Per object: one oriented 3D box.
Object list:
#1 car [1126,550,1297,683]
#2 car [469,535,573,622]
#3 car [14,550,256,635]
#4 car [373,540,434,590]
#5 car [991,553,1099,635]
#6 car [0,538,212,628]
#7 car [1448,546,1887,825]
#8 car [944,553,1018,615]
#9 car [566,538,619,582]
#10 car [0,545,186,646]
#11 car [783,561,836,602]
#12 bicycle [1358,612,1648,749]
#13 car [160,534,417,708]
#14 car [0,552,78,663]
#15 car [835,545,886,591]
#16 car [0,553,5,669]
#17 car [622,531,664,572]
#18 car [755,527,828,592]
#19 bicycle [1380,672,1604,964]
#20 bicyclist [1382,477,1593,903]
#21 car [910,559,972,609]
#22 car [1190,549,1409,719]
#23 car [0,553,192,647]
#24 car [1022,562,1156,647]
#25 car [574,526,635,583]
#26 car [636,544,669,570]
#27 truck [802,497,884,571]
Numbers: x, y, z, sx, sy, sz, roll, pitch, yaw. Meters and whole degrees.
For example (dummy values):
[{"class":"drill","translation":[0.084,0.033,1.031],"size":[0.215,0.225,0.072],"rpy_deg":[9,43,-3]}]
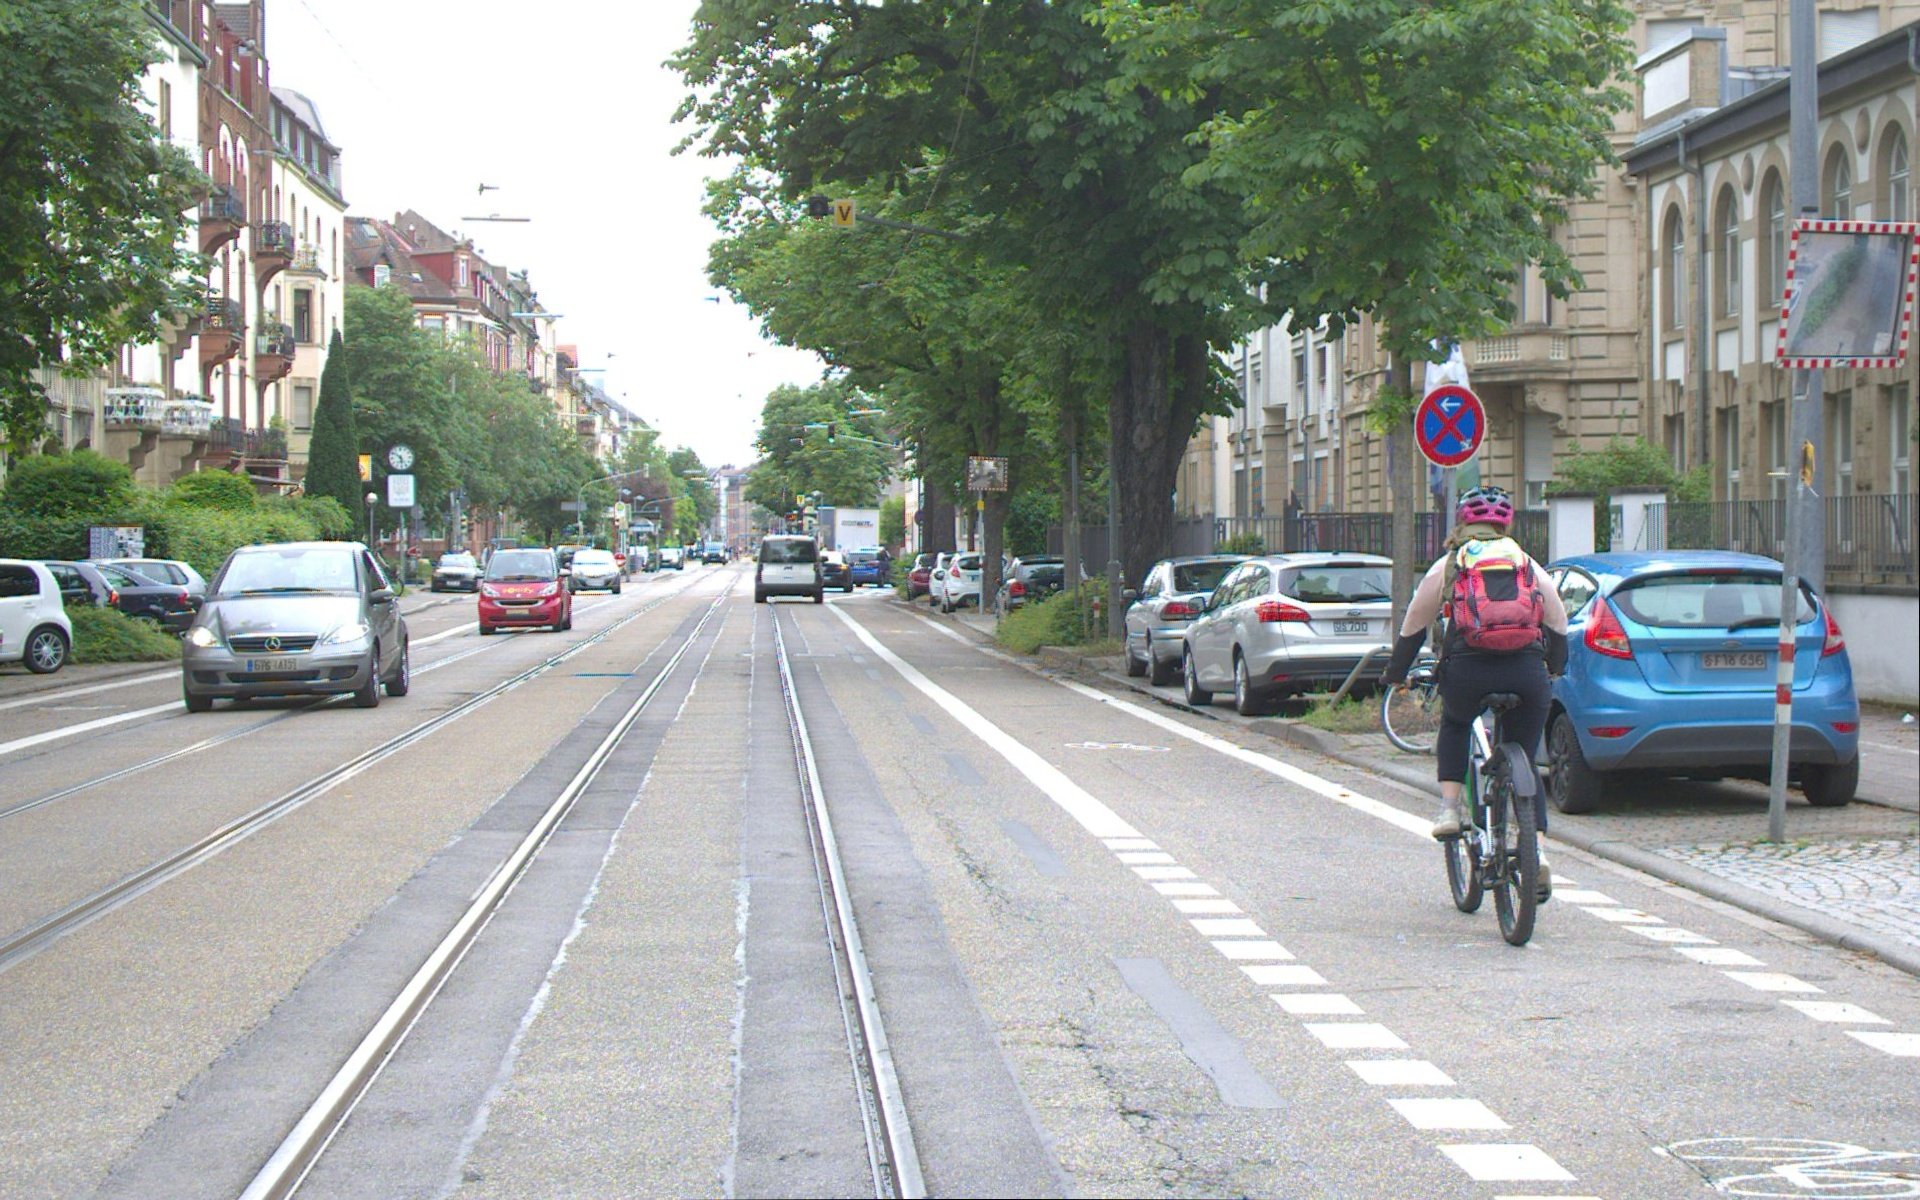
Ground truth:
[{"class":"car","translation":[2.834,0.149,39.350],"size":[1.475,1.424,3.566],"rpy_deg":[-1,1,-4]},{"class":"car","translation":[-7.874,-0.388,61.779],"size":[1.676,1.517,2.782],"rpy_deg":[1,0,-4]},{"class":"car","translation":[-14.085,-0.130,58.704],"size":[3.707,1.381,1.700],"rpy_deg":[1,1,-27]},{"class":"car","translation":[-24.983,-1.594,154.432],"size":[2.177,2.199,4.219],"rpy_deg":[-1,1,-2]},{"class":"car","translation":[1.498,-0.132,61.803],"size":[1.791,1.394,3.795],"rpy_deg":[0,1,-1]},{"class":"car","translation":[-14.214,-0.281,55.810],"size":[3.707,1.381,1.700],"rpy_deg":[1,1,-27]},{"class":"car","translation":[4.075,0.434,20.316],"size":[1.674,1.455,3.433],"rpy_deg":[-1,1,-4]},{"class":"car","translation":[0.474,-0.385,80.869],"size":[1.667,1.394,3.661],"rpy_deg":[0,1,-1]},{"class":"car","translation":[-12.260,-1.360,114.603],"size":[1.740,1.424,4.001],"rpy_deg":[-1,1,-6]},{"class":"car","translation":[-12.819,-0.078,47.353],"size":[1.698,1.347,3.958],"rpy_deg":[2,1,42]},{"class":"car","translation":[-5.385,-0.679,123.489],"size":[1.770,1.394,3.795],"rpy_deg":[0,1,-1]},{"class":"bicycle","translation":[3.942,0.578,24.997],"size":[2.012,0.953,0.534],"rpy_deg":[-1,1,-6]},{"class":"car","translation":[-6.369,0.152,32.982],"size":[1.900,1.525,3.755],"rpy_deg":[-2,1,-3]},{"class":"car","translation":[-13.006,0.078,42.167],"size":[1.698,1.347,3.958],"rpy_deg":[2,1,42]},{"class":"car","translation":[-4.002,-1.286,137.555],"size":[1.993,1.787,4.000],"rpy_deg":[0,1,-2]},{"class":"car","translation":[-13.078,0.102,39.118],"size":[1.698,1.347,3.958],"rpy_deg":[2,1,42]},{"class":"car","translation":[-17.883,-2.753,193.964],"size":[2.205,2.248,4.001],"rpy_deg":[-1,1,-3]},{"class":"car","translation":[-4.560,-1.084,93.318],"size":[1.811,1.702,3.699],"rpy_deg":[1,0,-1]},{"class":"bicycle","translation":[2.069,0.818,13.578],"size":[0.489,0.976,2.058],"rpy_deg":[1,1,-2]},{"class":"bicyclist","translation":[2.048,0.331,13.426],"size":[0.658,1.605,0.920],"rpy_deg":[0,1,-2]},{"class":"car","translation":[-0.587,-0.495,100.991],"size":[1.770,1.394,3.795],"rpy_deg":[0,1,-1]},{"class":"car","translation":[3.132,0.276,32.279],"size":[1.475,1.476,3.566],"rpy_deg":[1,1,-4]},{"class":"car","translation":[-13.901,-0.006,52.971],"size":[3.707,1.381,1.700],"rpy_deg":[1,1,-27]},{"class":"car","translation":[1.982,0.046,53.829],"size":[1.873,1.247,4.000],"rpy_deg":[0,1,-1]},{"class":"car","translation":[-15.472,-1.994,149.805],"size":[2.205,2.409,4.000],"rpy_deg":[-1,1,1]},{"class":"car","translation":[-20.009,-2.816,224.011],"size":[1.772,1.638,3.566],"rpy_deg":[-1,1,1]},{"class":"truck","translation":[-6.633,-3.727,193.617],"size":[3.807,4.015,10.220],"rpy_deg":[-1,1,-6]}]
